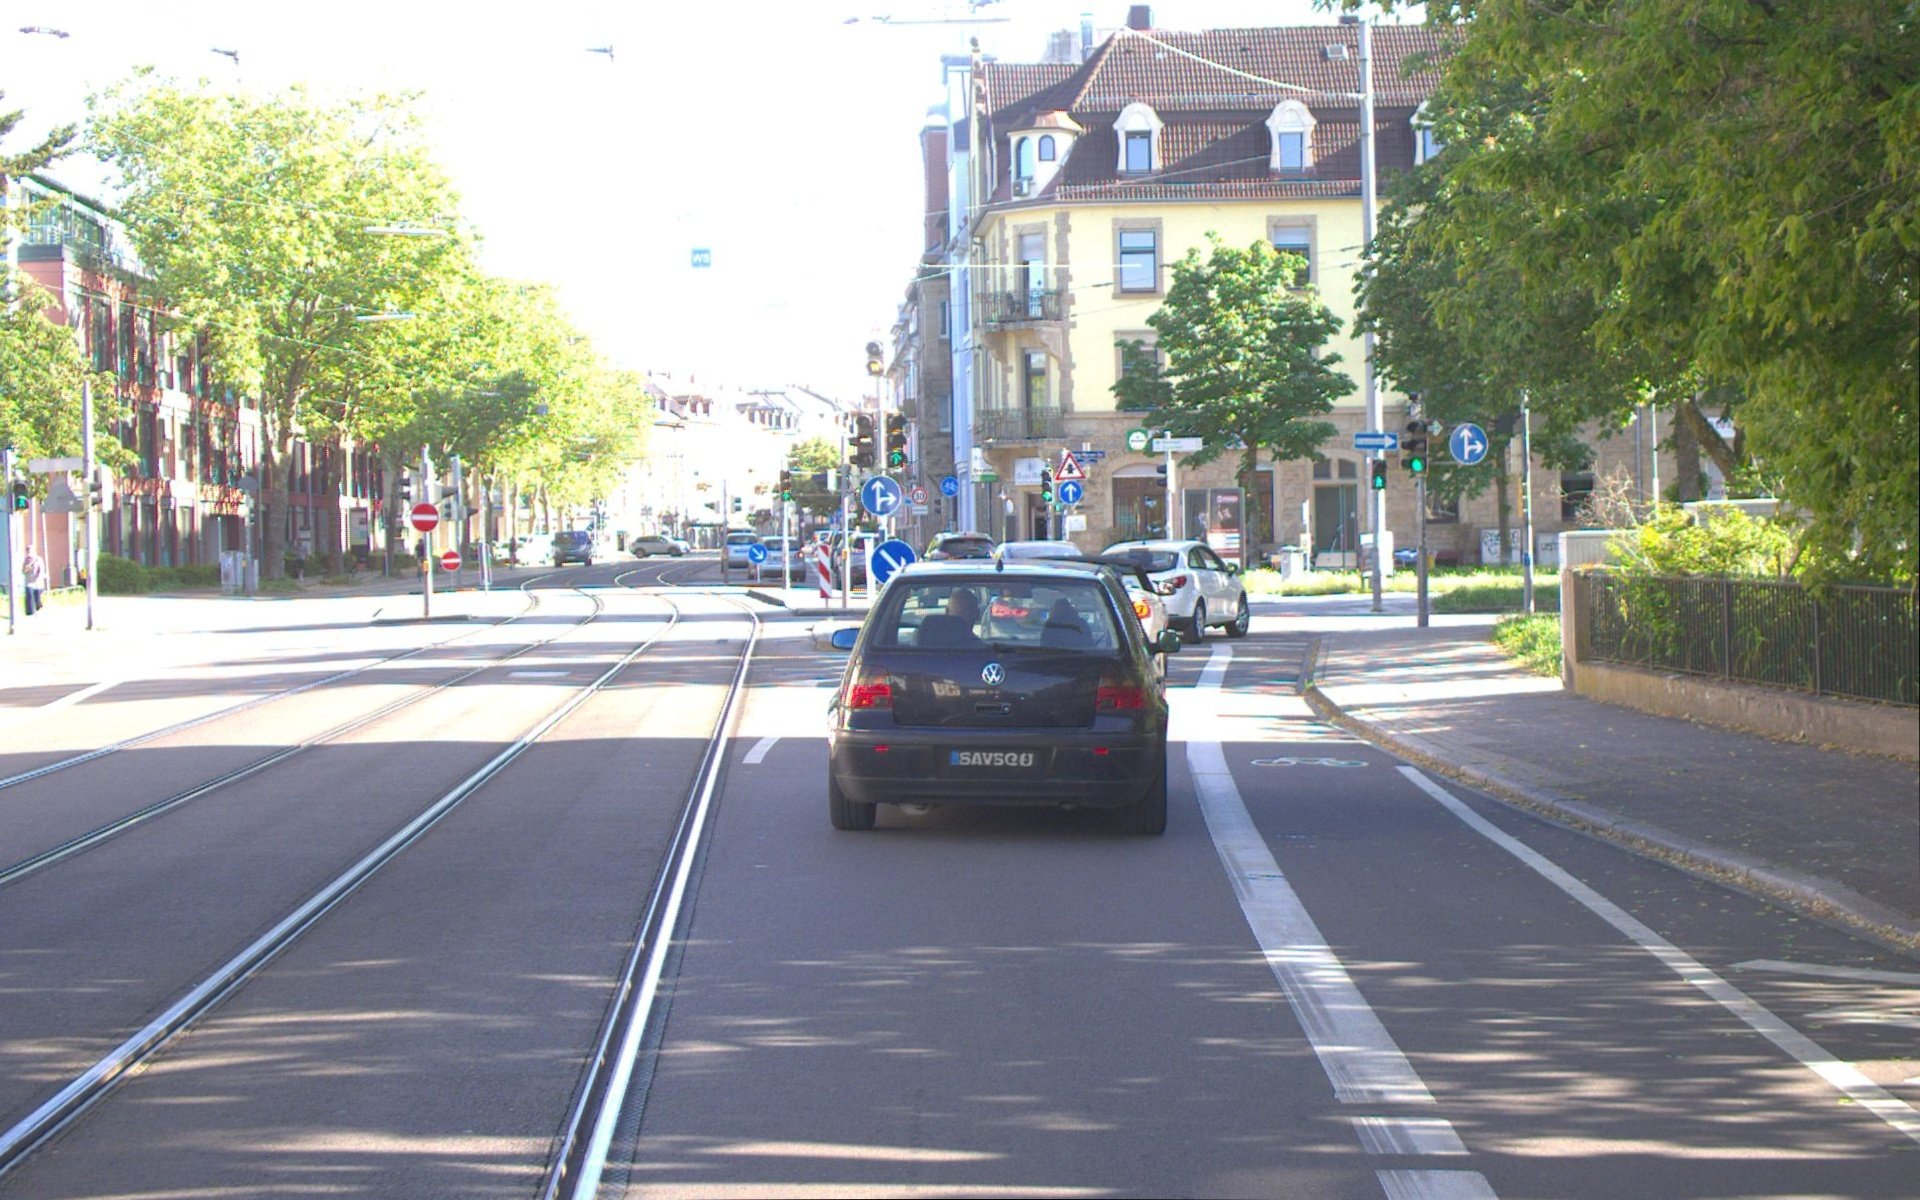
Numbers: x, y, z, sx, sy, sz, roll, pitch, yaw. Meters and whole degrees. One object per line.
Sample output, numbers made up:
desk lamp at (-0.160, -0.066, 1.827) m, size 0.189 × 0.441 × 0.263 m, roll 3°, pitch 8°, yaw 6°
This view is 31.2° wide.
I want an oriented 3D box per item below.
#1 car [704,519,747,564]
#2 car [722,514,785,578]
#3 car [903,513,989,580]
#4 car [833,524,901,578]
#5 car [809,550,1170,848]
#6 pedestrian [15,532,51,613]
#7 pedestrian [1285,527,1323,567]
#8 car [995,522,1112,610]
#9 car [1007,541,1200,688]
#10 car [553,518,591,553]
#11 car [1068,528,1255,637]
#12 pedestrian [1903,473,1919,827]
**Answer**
car at (-10.043, -2.512, 147.127) m, size 1.787 × 1.853 × 4.001 m, roll -1°, pitch 1°, yaw -4°
car at (-6.232, -1.637, 103.372) m, size 1.787 × 1.853 × 4.001 m, roll -1°, pitch 1°, yaw -4°
car at (-0.324, -1.155, 75.396) m, size 1.569 × 1.307 × 3.500 m, roll -1°, pitch -1°, yaw -5°
car at (-2.590, -1.370, 95.131) m, size 1.680 × 1.448 × 3.380 m, roll -1°, pitch 1°, yaw -4°
car at (0.253, 0.445, 18.502) m, size 1.716 × 1.398 × 4.006 m, roll 1°, pitch 1°, yaw 3°
pedestrian at (-19.581, -0.581, 72.598) m, size 0.609 × 1.684 × 0.734 m, roll 1°, pitch 1°, yaw -21°
pedestrian at (10.214, -1.574, 102.085) m, size 0.979 × 1.183 × 0.743 m, roll -1°, pitch 1°, yaw -3°
car at (1.586, -0.608, 59.252) m, size 1.569 × 1.306 × 3.648 m, roll -1°, pitch 4°, yaw -5°
car at (1.406, 0.108, 34.889) m, size 1.634 × 1.367 × 3.758 m, roll -1°, pitch 1°, yaw -2°
car at (-20.803, -3.461, 184.140) m, size 1.971 × 1.809 × 4.298 m, roll -1°, pitch 1°, yaw -7°
car at (2.886, -0.273, 48.491) m, size 1.741 × 1.436 × 3.806 m, roll -1°, pitch 1°, yaw 17°
pedestrian at (4.916, 0.231, 15.993) m, size 0.717 × 1.682 × 0.870 m, roll -2°, pitch 1°, yaw -4°
